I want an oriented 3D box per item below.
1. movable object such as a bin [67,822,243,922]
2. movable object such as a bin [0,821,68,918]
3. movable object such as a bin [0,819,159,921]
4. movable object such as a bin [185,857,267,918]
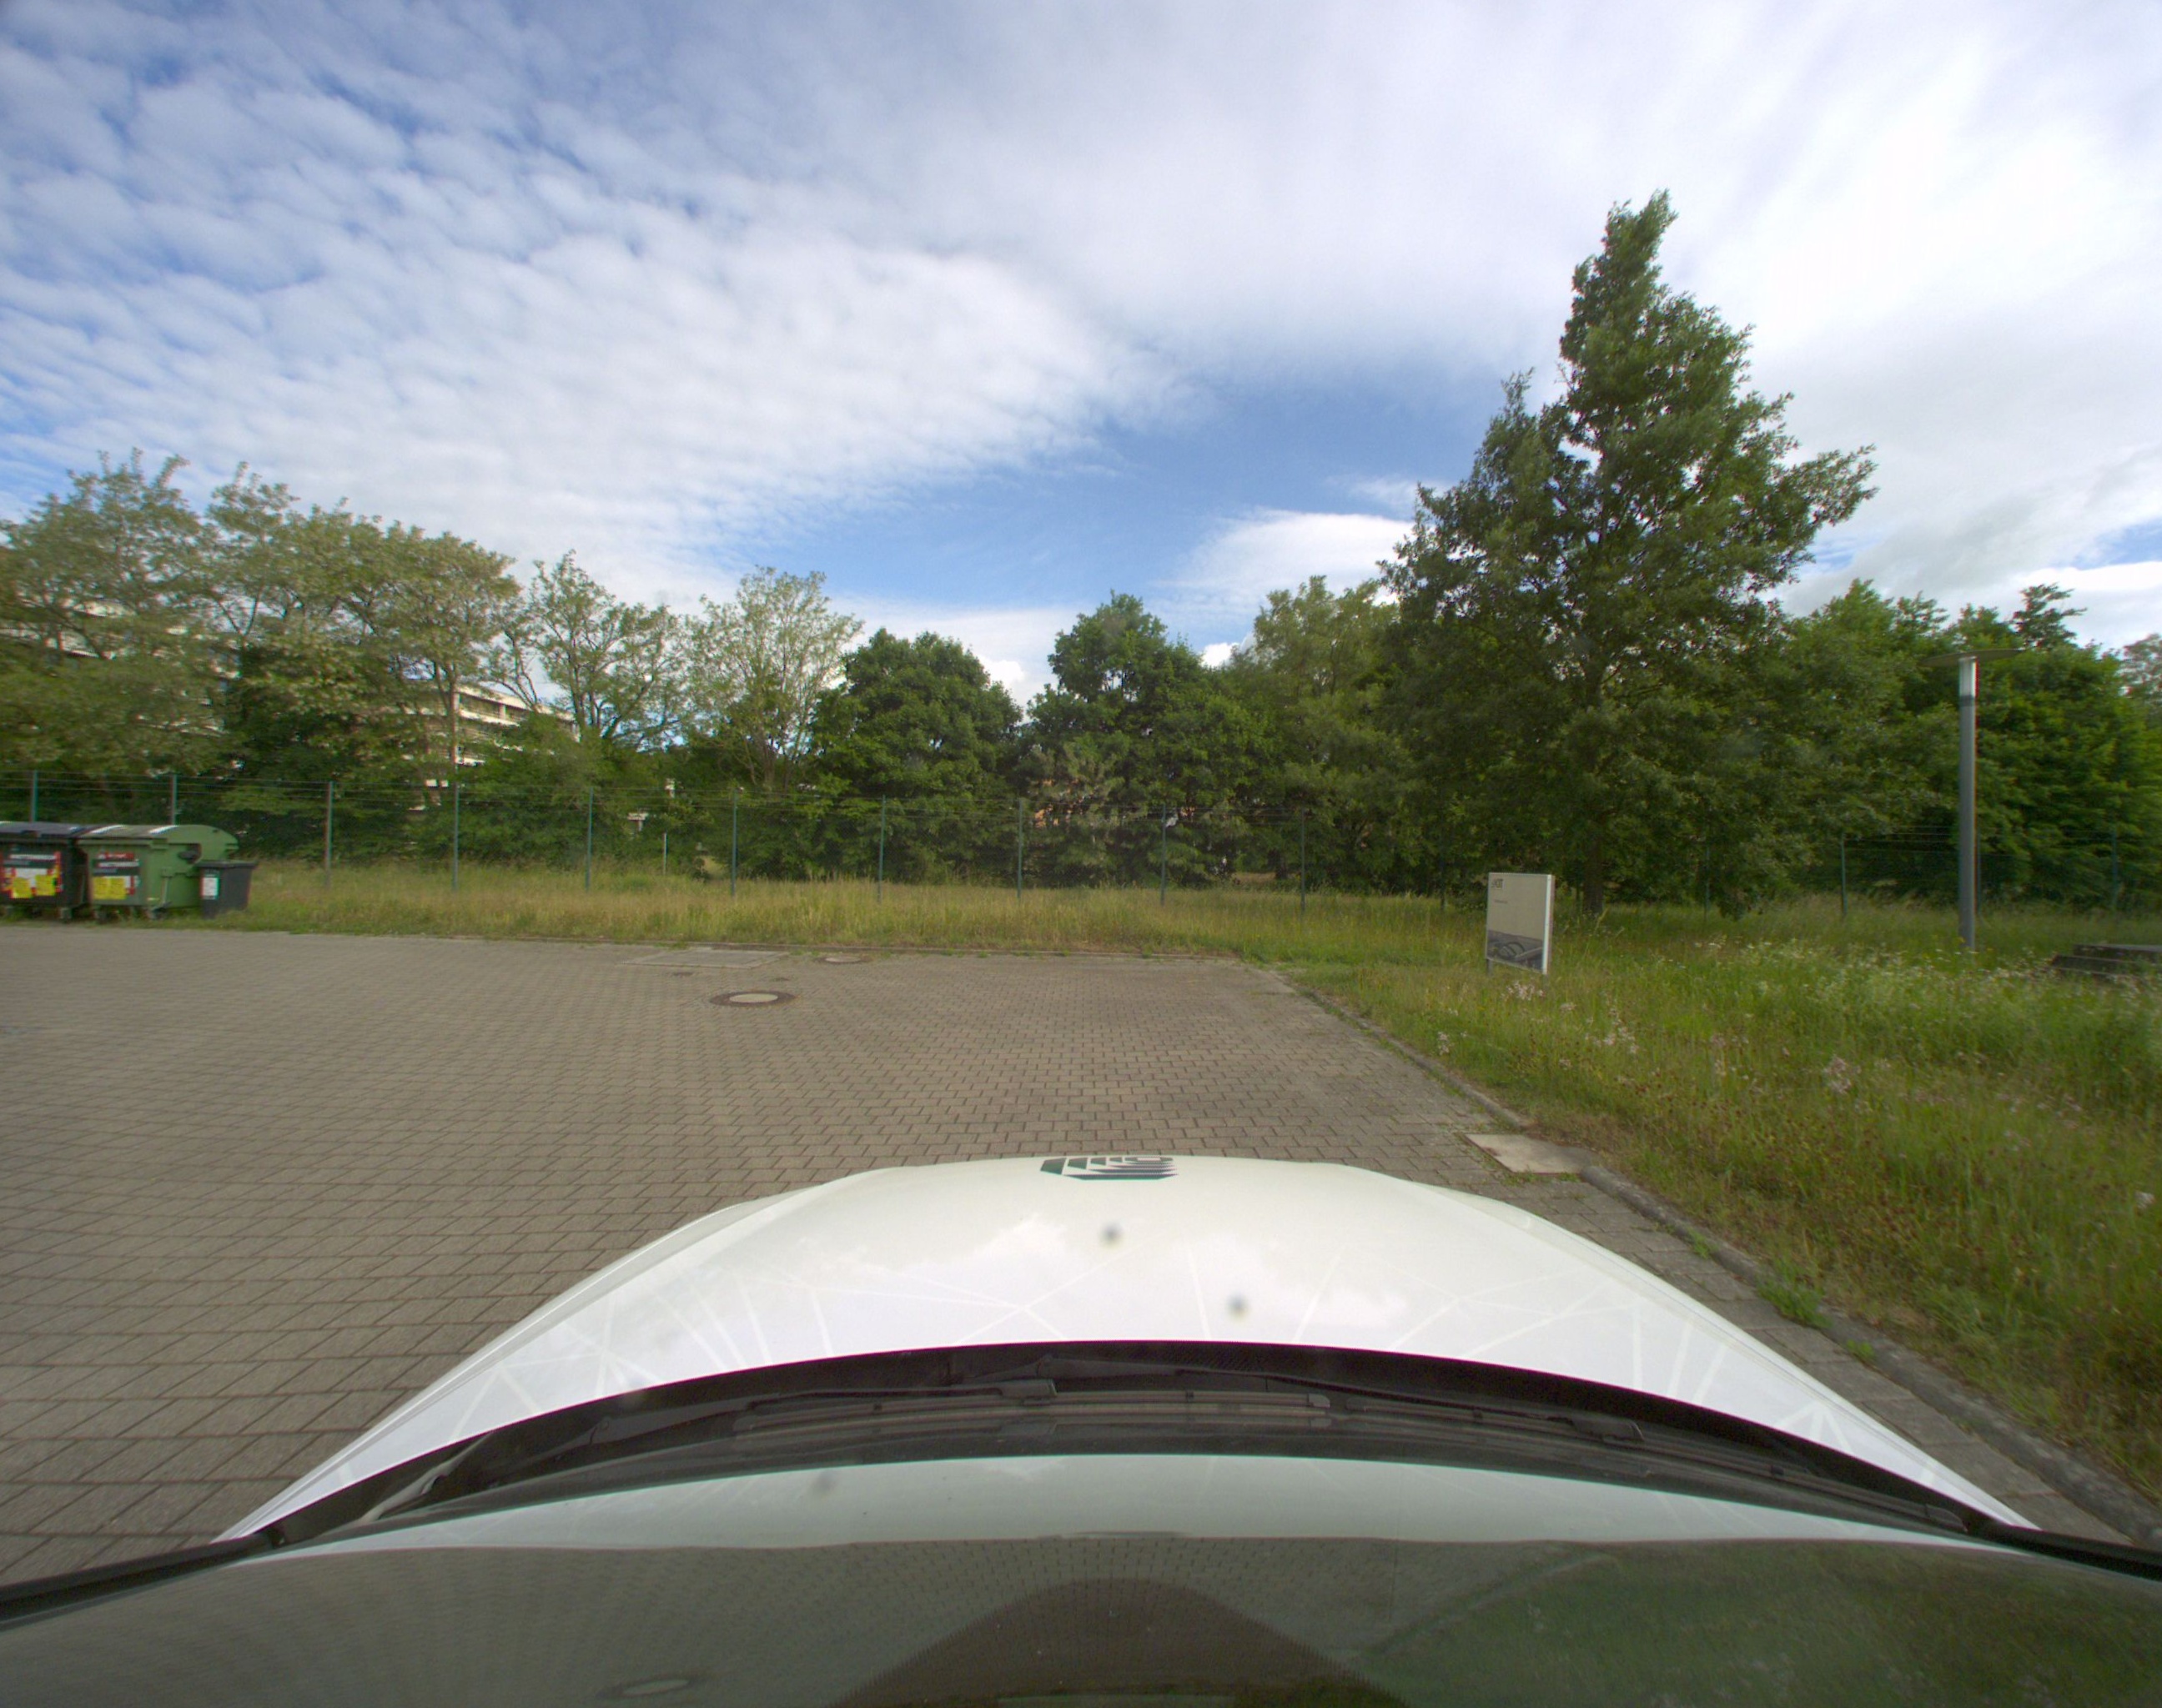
[{"bbox_3d":[-13.648,0.256,12.050,1.344,1.395,1.135,0,-1,8],"label":"movable object such as a bin"},{"bbox_3d":[-16.320,0.226,12.023,1.375,1.406,1.073,1,-1,3],"label":"movable object such as a bin"},{"bbox_3d":[-14.995,0.228,12.080,1.388,1.435,1.073,1,-1,3],"label":"movable object such as a bin"},{"bbox_3d":[-12.667,0.485,12.077,0.580,0.866,0.603,0,-1,9],"label":"movable object such as a bin"}]
